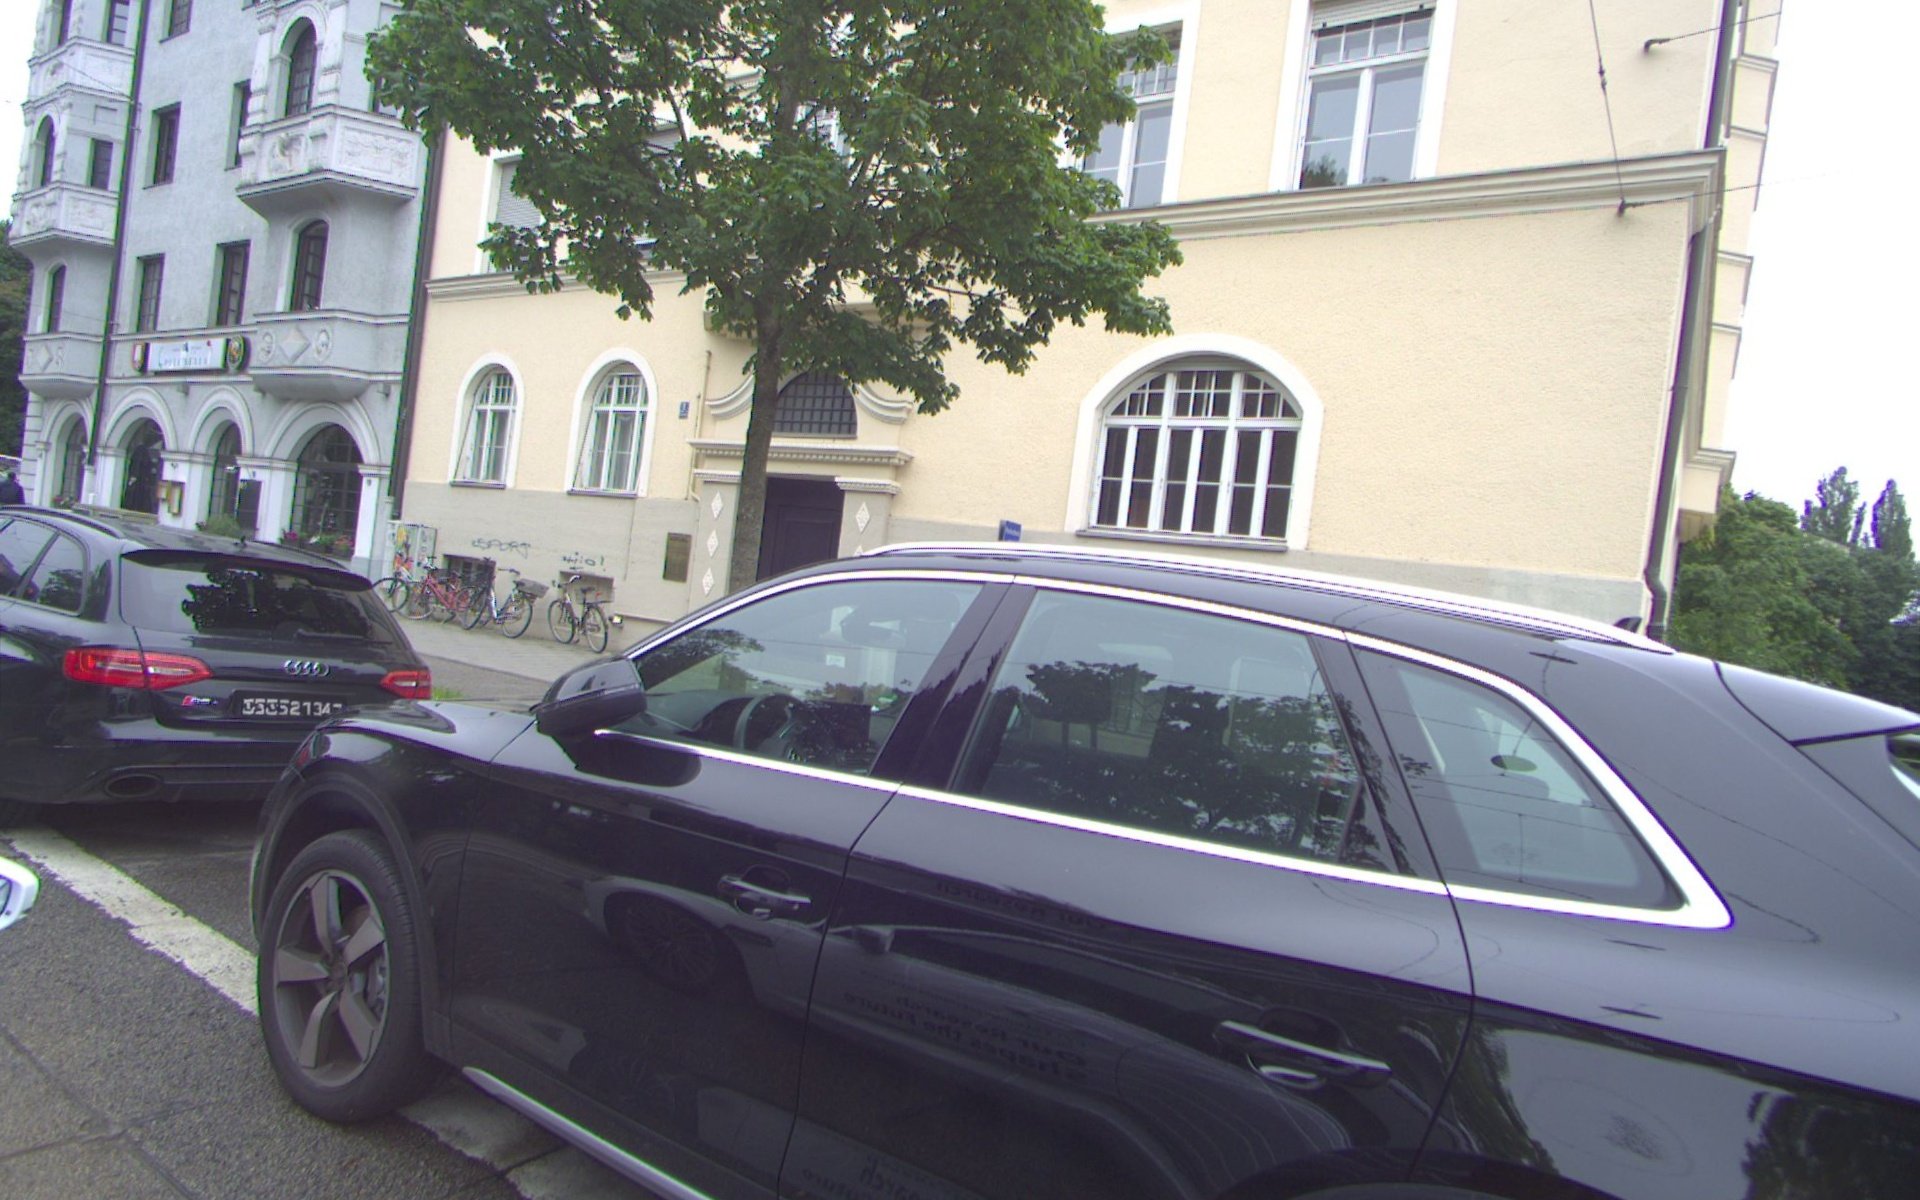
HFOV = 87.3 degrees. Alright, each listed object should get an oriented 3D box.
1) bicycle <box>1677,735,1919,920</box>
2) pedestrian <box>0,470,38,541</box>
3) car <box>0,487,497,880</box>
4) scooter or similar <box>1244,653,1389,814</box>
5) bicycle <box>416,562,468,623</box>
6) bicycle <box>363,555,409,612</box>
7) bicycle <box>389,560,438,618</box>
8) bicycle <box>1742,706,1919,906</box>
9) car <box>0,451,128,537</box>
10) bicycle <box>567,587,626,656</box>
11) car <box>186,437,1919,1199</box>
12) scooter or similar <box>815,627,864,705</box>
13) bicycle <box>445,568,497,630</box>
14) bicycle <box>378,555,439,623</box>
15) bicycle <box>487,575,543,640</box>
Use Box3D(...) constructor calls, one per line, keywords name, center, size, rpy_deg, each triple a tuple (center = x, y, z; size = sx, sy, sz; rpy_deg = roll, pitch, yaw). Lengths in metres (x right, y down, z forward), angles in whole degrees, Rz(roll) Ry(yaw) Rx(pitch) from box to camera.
Box3D(name="bicycle", center=(6.545, 1.738, 7.842), size=(1.417, 1.119, 0.287), rpy_deg=(7, 0, 24))
Box3D(name="pedestrian", center=(-25.260, -2.514, 26.776), size=(0.829, 1.752, 0.706), rpy_deg=(7, -1, 32))
Box3D(name="car", center=(-4.863, 0.192, 5.684), size=(4.525, 1.442, 1.720), rpy_deg=(7, -2, 31))
Box3D(name="scooter or similar", center=(3.371, 1.242, 9.550), size=(1.123, 1.328, 0.262), rpy_deg=(7, -1, 32))
Box3D(name="bicycle", center=(-9.023, -0.136, 17.517), size=(0.871, 0.941, 0.306), rpy_deg=(7, -1, 34))
Box3D(name="bicycle", center=(-10.583, -0.311, 18.527), size=(0.871, 0.941, 0.259), rpy_deg=(7, -1, 33))
Box3D(name="bicycle", center=(-9.806, -0.205, 18.043), size=(0.871, 0.941, 0.291), rpy_deg=(7, -1, 33))
Box3D(name="bicycle", center=(7.025, 1.590, 7.678), size=(1.511, 1.327, 0.332), rpy_deg=(7, -1, 30))
Box3D(name="car", center=(-36.495, -4.262, 39.452), size=(2.192, 2.642, 5.311), rpy_deg=(7, -2, 29))
Box3D(name="bicycle", center=(-5.509, 0.323, 15.241), size=(0.871, 0.941, 0.222), rpy_deg=(7, -1, 31))
Box3D(name="car", center=(0.153, 0.662, 2.522), size=(4.414, 1.677, 1.777), rpy_deg=(7, -2, 32))
Box3D(name="scooter or similar", center=(-1.520, 0.828, 12.711), size=(0.413, 0.921, 0.348), rpy_deg=(8, -1, 11))
Box3D(name="bicycle", center=(-8.253, -0.015, 16.962), size=(0.871, 0.941, 0.273), rpy_deg=(7, -1, 33))
Box3D(name="bicycle", center=(-9.535, -0.195, 17.374), size=(1.203, 1.051, 0.242), rpy_deg=(7, -1, 32))
Box3D(name="bicycle", center=(-7.175, 0.119, 16.220), size=(0.871, 0.941, 0.285), rpy_deg=(7, -1, 33))
